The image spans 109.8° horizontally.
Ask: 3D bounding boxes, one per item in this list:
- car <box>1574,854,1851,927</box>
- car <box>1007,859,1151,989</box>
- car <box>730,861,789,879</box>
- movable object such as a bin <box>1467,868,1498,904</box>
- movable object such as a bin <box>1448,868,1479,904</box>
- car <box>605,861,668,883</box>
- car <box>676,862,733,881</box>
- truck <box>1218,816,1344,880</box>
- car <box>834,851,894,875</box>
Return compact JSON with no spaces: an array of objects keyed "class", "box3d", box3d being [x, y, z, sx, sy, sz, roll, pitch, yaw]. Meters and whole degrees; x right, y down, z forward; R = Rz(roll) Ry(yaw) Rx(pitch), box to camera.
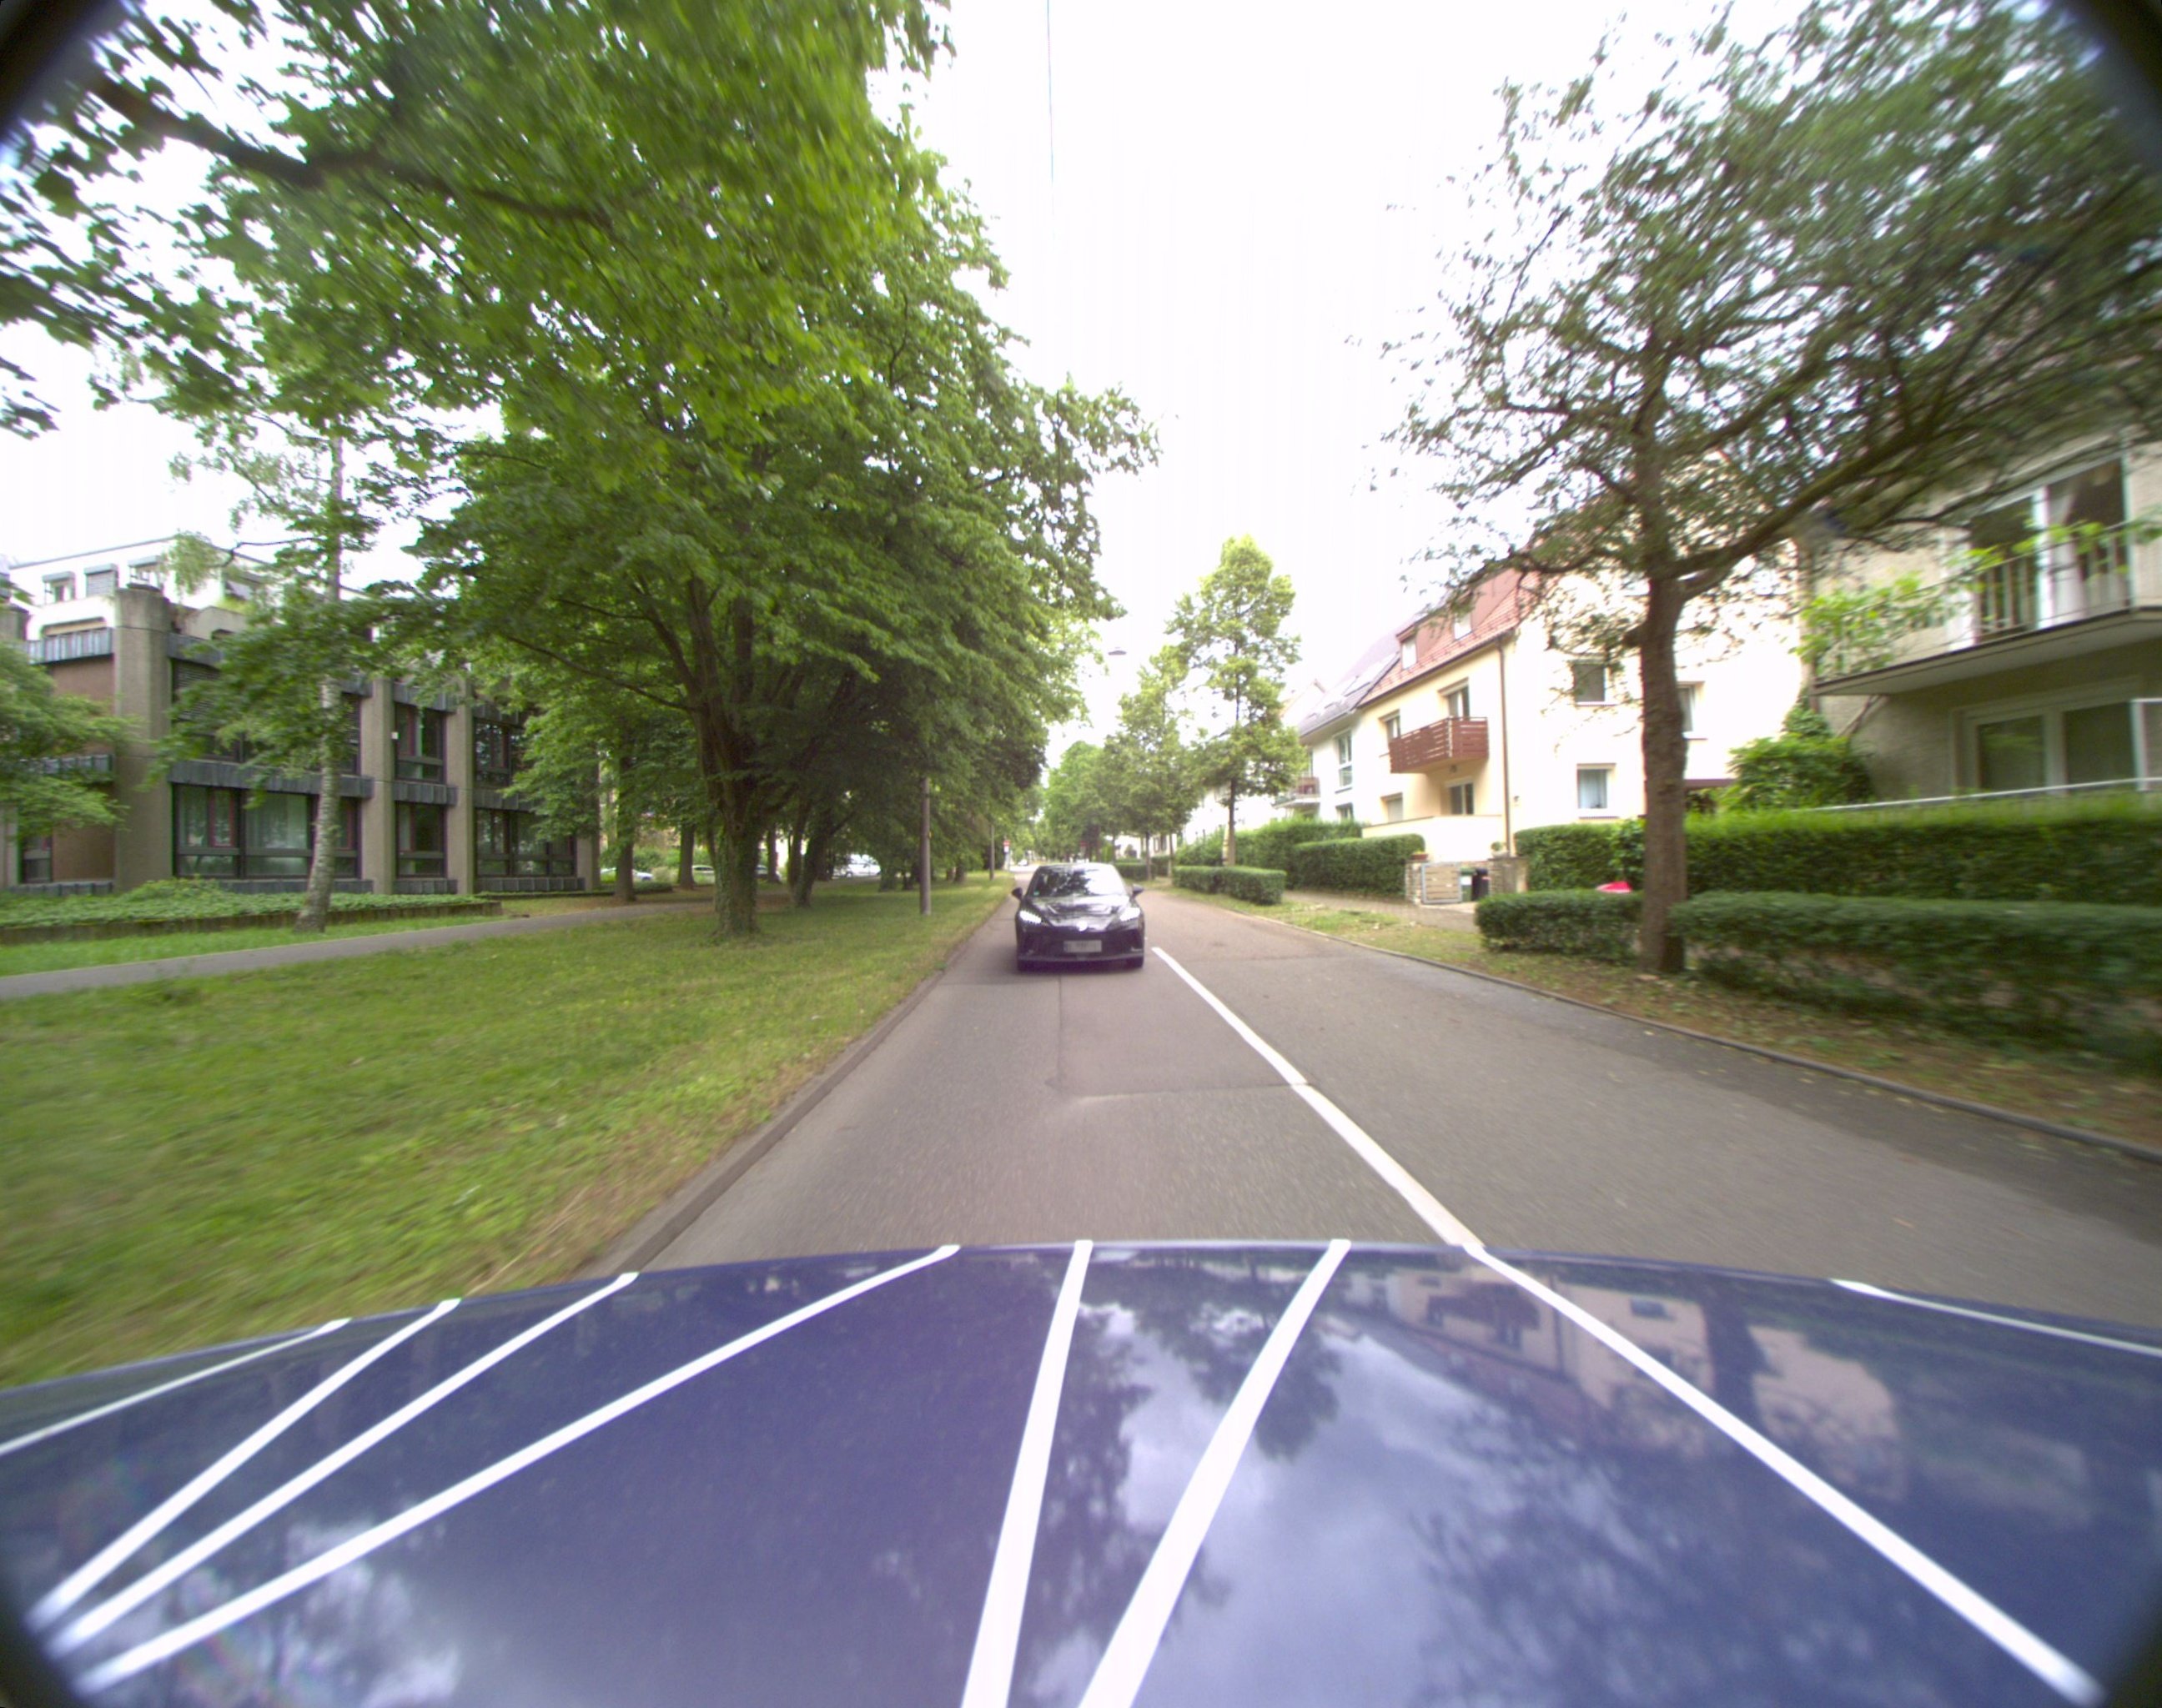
[{"class":"car","box3d":[11.943,0.645,14.529,3.998,1.192,1.697,-2,0,-4]},{"class":"car","box3d":[-0.119,0.927,12.123,1.799,1.552,4.470,-3,0,-3]},{"class":"car","box3d":[-29.419,1.441,69.687,1.795,1.501,4.613,-2,-1,41]},{"class":"movable object such as a bin","box3d":[10.419,0.815,19.720,0.489,0.906,0.570,0,1,-5]},{"class":"movable object such as a bin","box3d":[9.883,0.821,19.656,0.489,0.906,0.570,0,1,-5]},{"class":"car","box3d":[-36.042,1.459,61.728,1.795,1.664,4.008,-2,0,39]},{"class":"car","box3d":[-32.694,1.492,65.981,1.795,1.501,4.008,-2,0,38]},{"class":"truck","box3d":[10.434,-0.297,39.967,5.813,3.113,2.517,-2,0,-5]},{"class":"car","box3d":[-21.998,0.898,77.215,5.336,2.285,2.287,-1,0,-37]}]
